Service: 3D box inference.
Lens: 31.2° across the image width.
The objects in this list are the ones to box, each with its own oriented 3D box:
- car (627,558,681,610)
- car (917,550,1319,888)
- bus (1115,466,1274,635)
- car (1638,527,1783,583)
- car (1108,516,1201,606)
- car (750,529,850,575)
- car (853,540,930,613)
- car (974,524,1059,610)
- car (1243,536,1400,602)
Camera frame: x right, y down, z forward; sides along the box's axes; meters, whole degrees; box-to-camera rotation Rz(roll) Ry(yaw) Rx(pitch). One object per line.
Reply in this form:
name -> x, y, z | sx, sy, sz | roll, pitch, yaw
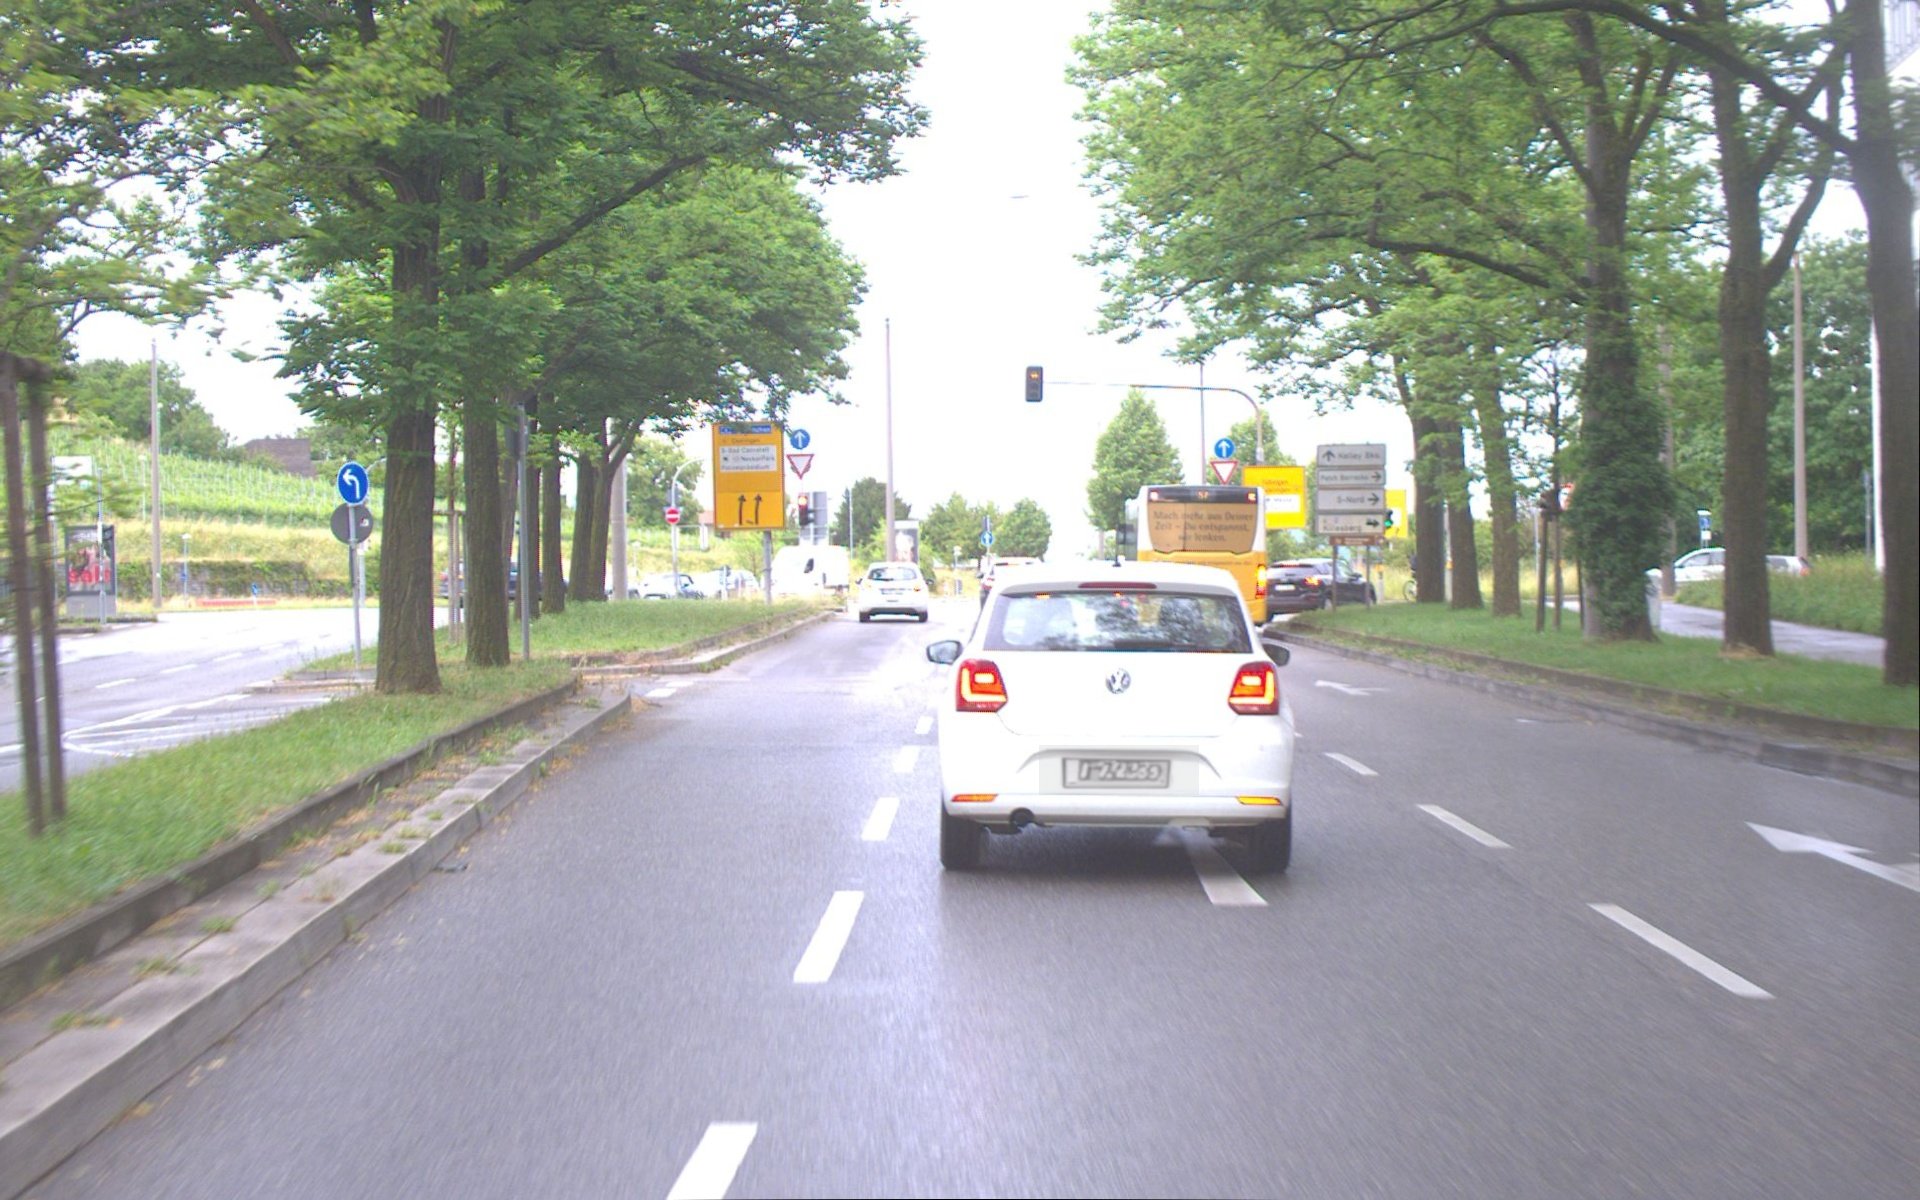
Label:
car -> -12.509, -0.638, 140.684 | 1.993, 2.007, 4.000 | -1, -1, -2
car -> 0.688, 0.503, 17.358 | 1.794, 1.497, 4.000 | 0, 1, -1
bus -> 4.780, -1.043, 71.762 | 2.828, 3.255, 10.000 | -1, 1, 1
car -> 22.875, -1.373, 104.770 | 3.991, 1.531, 1.998 | -2, 1, 22
car -> 4.525, -0.889, 80.355 | 1.993, 2.007, 4.000 | -2, 0, 1
car -> -7.598, -2.311, 164.019 | 1.997, 2.007, 5.701 | -1, 1, 29
car -> -1.694, -0.584, 86.139 | 1.794, 1.735, 4.000 | -1, 0, 1
car -> 1.404, -0.792, 84.246 | 1.993, 2.007, 4.000 | -2, 0, 1
car -> 8.799, -0.751, 83.550 | 3.817, 1.510, 1.699 | -1, 0, -43
